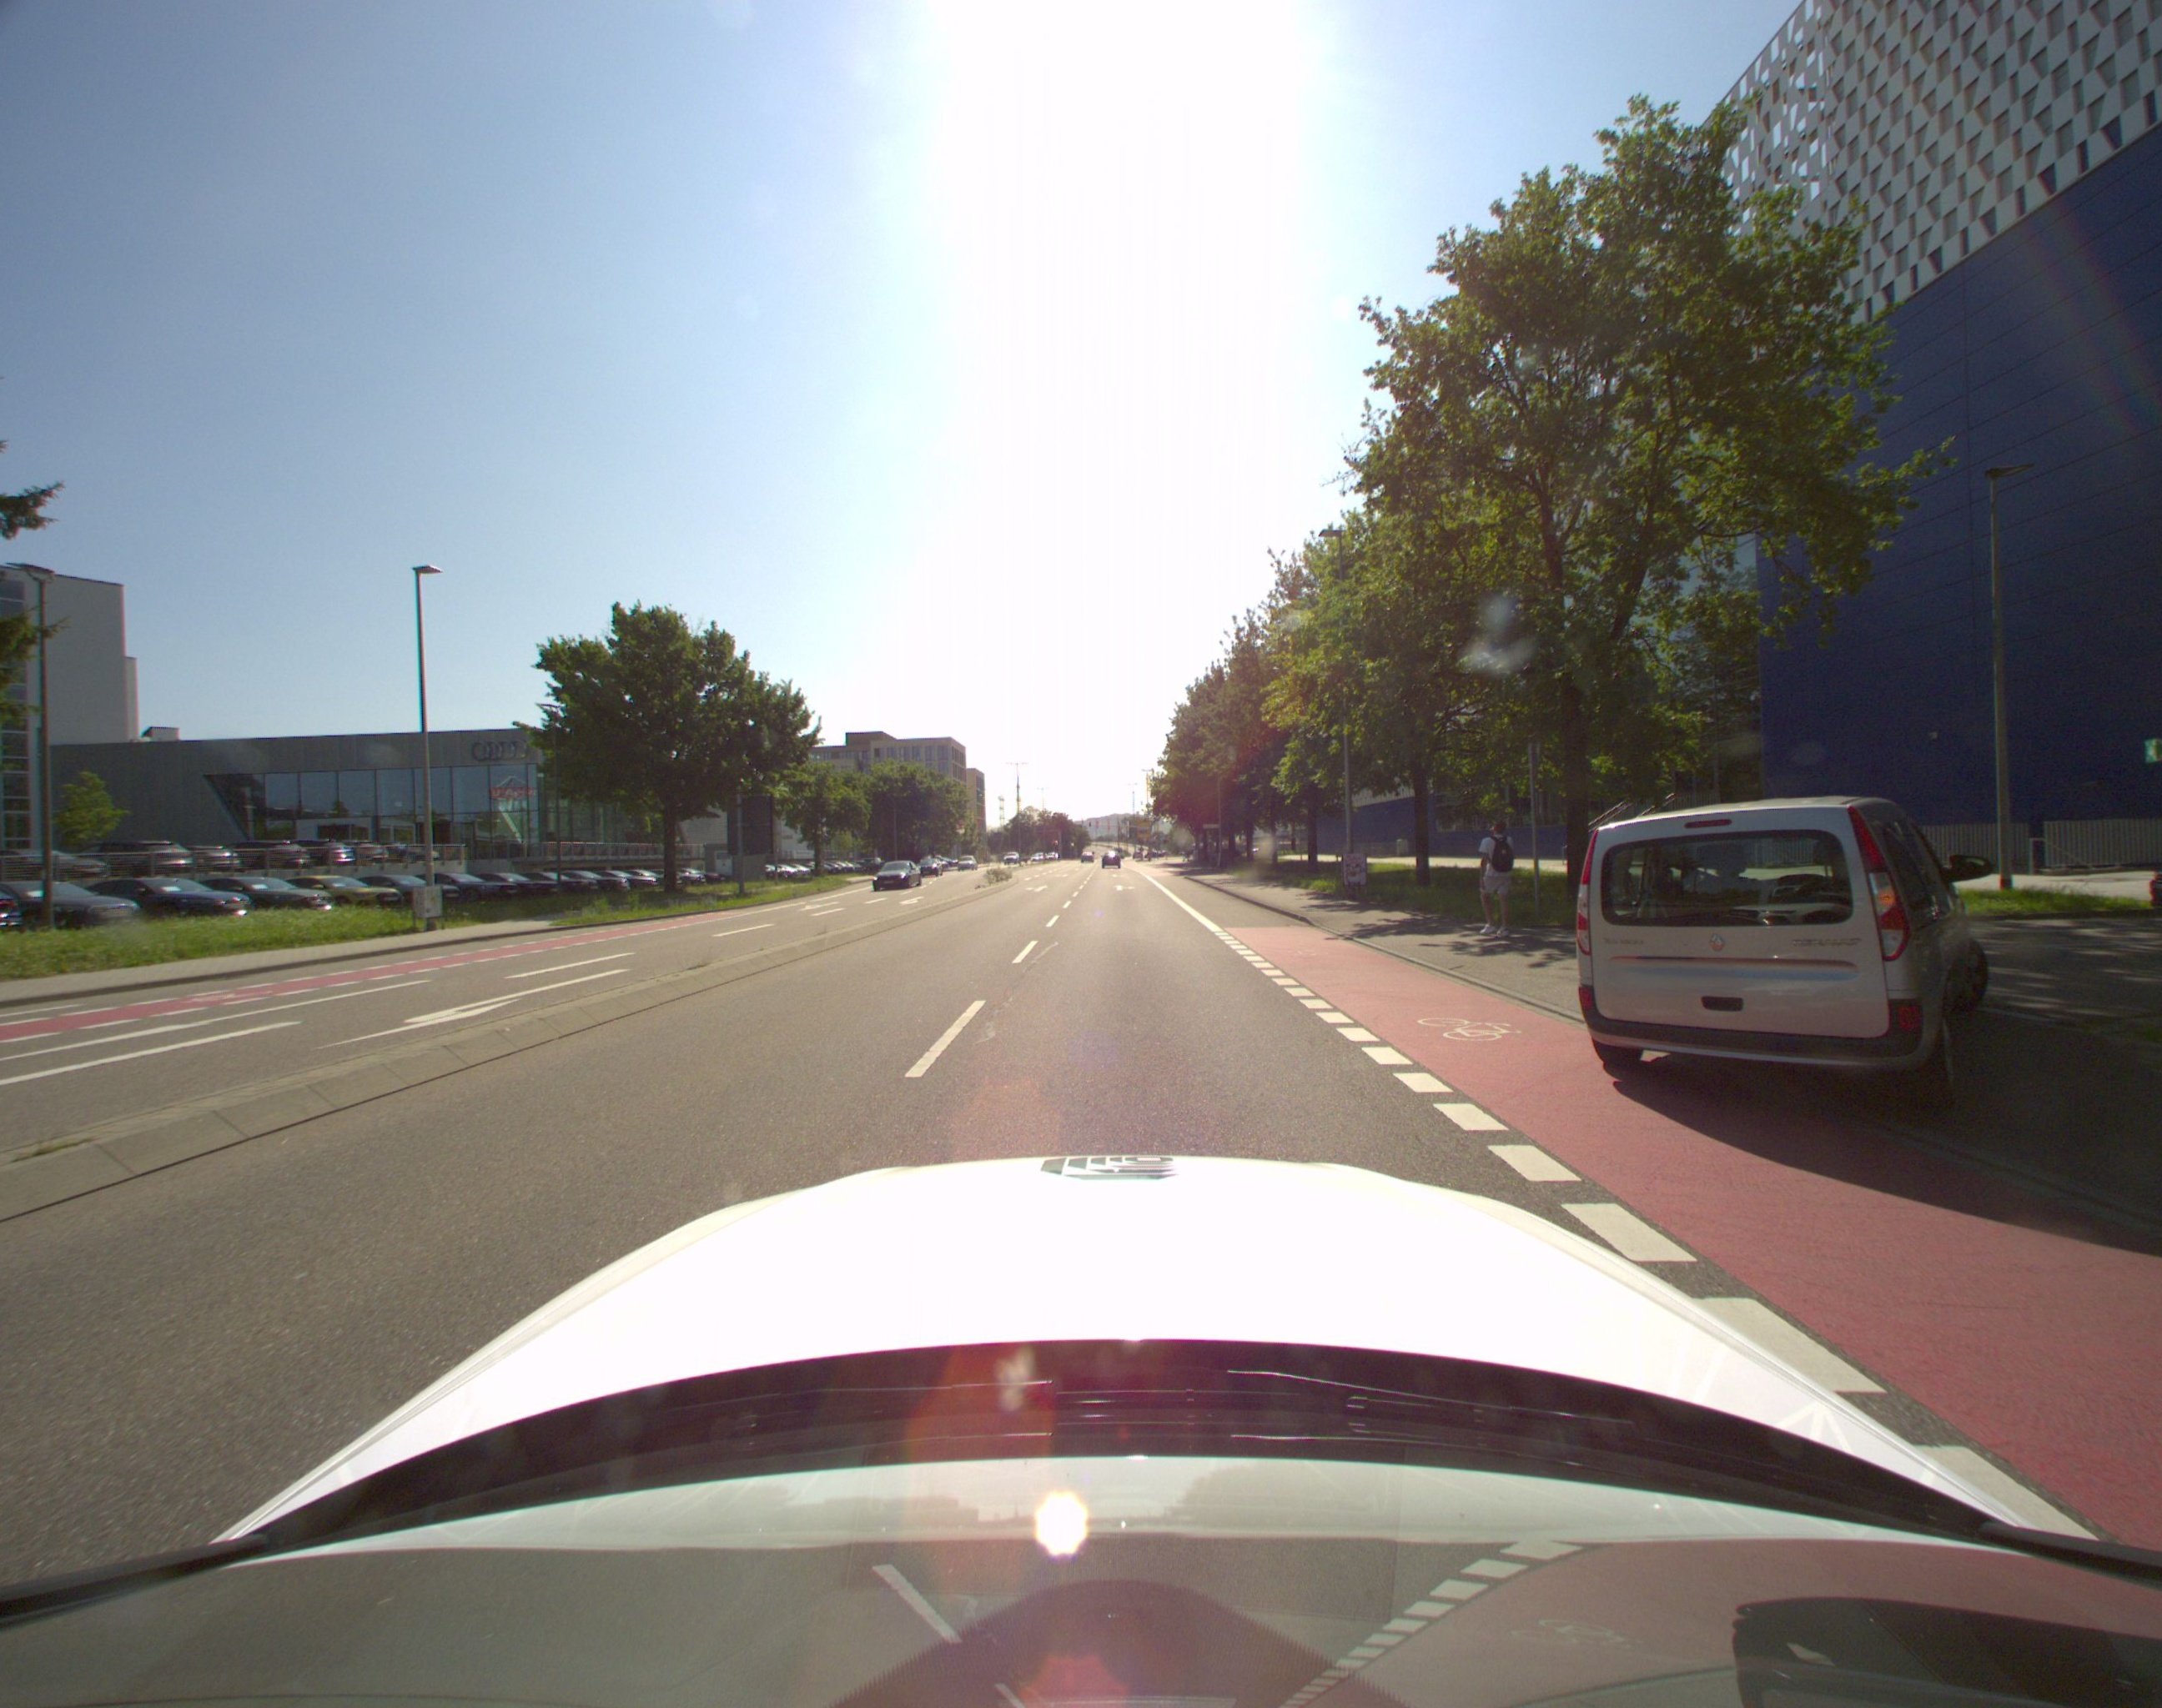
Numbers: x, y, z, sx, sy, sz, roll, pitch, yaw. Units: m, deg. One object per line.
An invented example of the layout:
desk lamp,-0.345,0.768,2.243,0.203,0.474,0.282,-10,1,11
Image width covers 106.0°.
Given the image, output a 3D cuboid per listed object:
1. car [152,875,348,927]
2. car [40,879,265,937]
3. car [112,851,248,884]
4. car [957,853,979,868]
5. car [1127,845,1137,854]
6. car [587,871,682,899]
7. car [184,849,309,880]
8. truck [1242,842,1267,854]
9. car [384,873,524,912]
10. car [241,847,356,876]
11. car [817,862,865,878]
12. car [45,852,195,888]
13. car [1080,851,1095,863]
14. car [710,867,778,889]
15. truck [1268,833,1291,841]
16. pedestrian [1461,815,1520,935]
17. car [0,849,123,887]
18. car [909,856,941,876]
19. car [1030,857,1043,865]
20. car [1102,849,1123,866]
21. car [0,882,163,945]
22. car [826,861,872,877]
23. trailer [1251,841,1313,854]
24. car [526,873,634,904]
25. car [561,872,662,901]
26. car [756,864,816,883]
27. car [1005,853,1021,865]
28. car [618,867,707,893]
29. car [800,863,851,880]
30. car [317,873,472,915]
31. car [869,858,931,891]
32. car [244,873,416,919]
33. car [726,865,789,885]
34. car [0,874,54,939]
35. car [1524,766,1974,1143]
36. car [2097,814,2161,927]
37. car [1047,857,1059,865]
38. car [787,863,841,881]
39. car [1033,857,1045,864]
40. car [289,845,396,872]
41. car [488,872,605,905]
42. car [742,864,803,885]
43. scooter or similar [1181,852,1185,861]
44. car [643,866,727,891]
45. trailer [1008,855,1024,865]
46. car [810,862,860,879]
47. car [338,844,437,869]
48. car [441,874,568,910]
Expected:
car,-25.838,1.438,25.407,4.246,1.350,1.956,-2,0,4
car,-26.039,1.493,22.938,4.246,1.350,1.956,-2,0,4
car,-41.842,0.595,37.895,4.248,1.350,1.956,-2,0,3
car,-11.487,0.661,83.001,1.648,1.464,3.550,-3,0,0
car,9.637,-0.898,154.584,1.752,1.758,3.602,0,1,0
car,-25.266,1.732,46.161,4.246,1.350,1.956,-2,0,4
car,-41.212,0.499,40.297,4.248,1.350,1.956,-2,0,3
truck,34.672,-1.233,162.851,4.856,2.423,2.004,0,1,5
car,-25.472,1.543,33.197,4.246,1.350,1.956,-2,0,4
car,-41.090,0.388,42.828,4.248,1.350,1.956,-2,0,3
car,-23.115,1.511,78.544,3.971,1.376,1.925,-2,0,2
car,-41.410,0.671,35.166,4.248,1.350,1.956,-2,0,3
car,1.002,0.459,119.721,1.985,1.684,4.003,-2,0,3
car,-24.170,1.681,58.487,3.971,1.376,2.001,-2,0,2
truck,54.397,-4.641,223.442,5.882,2.013,2.003,0,1,4
pedestrian,6.542,0.327,13.036,0.533,1.841,0.728,-2,0,3
car,-41.392,0.564,32.451,4.248,1.350,1.956,-2,0,3
car,-11.947,0.905,62.570,1.779,1.414,3.995,-4,0,-3
car,-8.751,1.338,160.831,1.882,1.464,4.008,-2,0,7
car,3.170,0.339,81.235,1.798,1.640,4.466,-2,0,6
car,-26.105,1.490,20.363,4.246,1.350,1.956,-2,0,4
car,-23.208,1.520,81.476,3.971,1.376,1.925,-2,0,2
trailer,40.079,-1.228,162.437,11.814,2.469,2.003,0,1,5
car,-25.299,1.716,41.232,4.246,1.350,1.956,-2,0,4
car,-25.189,1.732,43.761,4.246,1.350,1.956,-2,0,4
car,-23.885,1.590,66.117,4.026,1.376,2.027,-2,0,2
car,-10.427,0.773,124.966,1.987,1.832,4.937,-2,0,0
car,-24.829,1.549,48.436,4.246,1.350,1.956,-2,0,4
car,-23.221,1.554,74.026,3.971,1.376,1.925,-2,0,2
car,-25.764,1.499,30.634,4.246,1.350,1.956,-2,0,4
car,-9.507,1.033,43.230,1.834,1.463,5.003,-4,0,3
car,-25.837,1.421,28.107,4.246,1.350,1.956,-2,0,4
car,-24.292,1.571,61.255,3.971,1.376,1.867,-2,0,2
car,-25.621,1.228,17.730,4.246,1.381,1.956,-2,0,4
car,5.153,0.452,6.057,4.202,1.829,1.889,-2,0,-41
car,16.552,0.144,10.272,4.325,1.520,1.920,-2,0,17
car,-5.554,1.319,161.760,1.806,1.464,4.008,-2,0,7
car,-23.410,1.539,71.418,3.971,1.376,1.925,-2,0,2
car,-8.645,1.337,168.186,1.806,1.464,4.008,-2,0,7
car,-41.331,0.260,45.629,4.248,1.350,1.956,-2,0,3
car,-25.308,1.634,38.646,4.246,1.350,1.956,-2,0,4
car,-23.980,1.588,63.317,3.971,1.376,1.867,-2,0,2
scooter or similar,13.679,0.326,108.980,0.348,1.233,1.317,-2,0,16
car,-24.675,1.534,50.844,4.246,1.350,1.956,-2,0,4
trailer,-10.366,0.946,130.308,1.987,1.453,5.772,-2,0,1
car,-23.084,1.541,76.425,3.971,1.376,1.925,-2,0,2
car,-41.218,0.142,48.452,4.248,1.350,1.956,-2,0,3
car,-25.476,1.655,36.068,4.246,1.350,1.956,-2,0,4
